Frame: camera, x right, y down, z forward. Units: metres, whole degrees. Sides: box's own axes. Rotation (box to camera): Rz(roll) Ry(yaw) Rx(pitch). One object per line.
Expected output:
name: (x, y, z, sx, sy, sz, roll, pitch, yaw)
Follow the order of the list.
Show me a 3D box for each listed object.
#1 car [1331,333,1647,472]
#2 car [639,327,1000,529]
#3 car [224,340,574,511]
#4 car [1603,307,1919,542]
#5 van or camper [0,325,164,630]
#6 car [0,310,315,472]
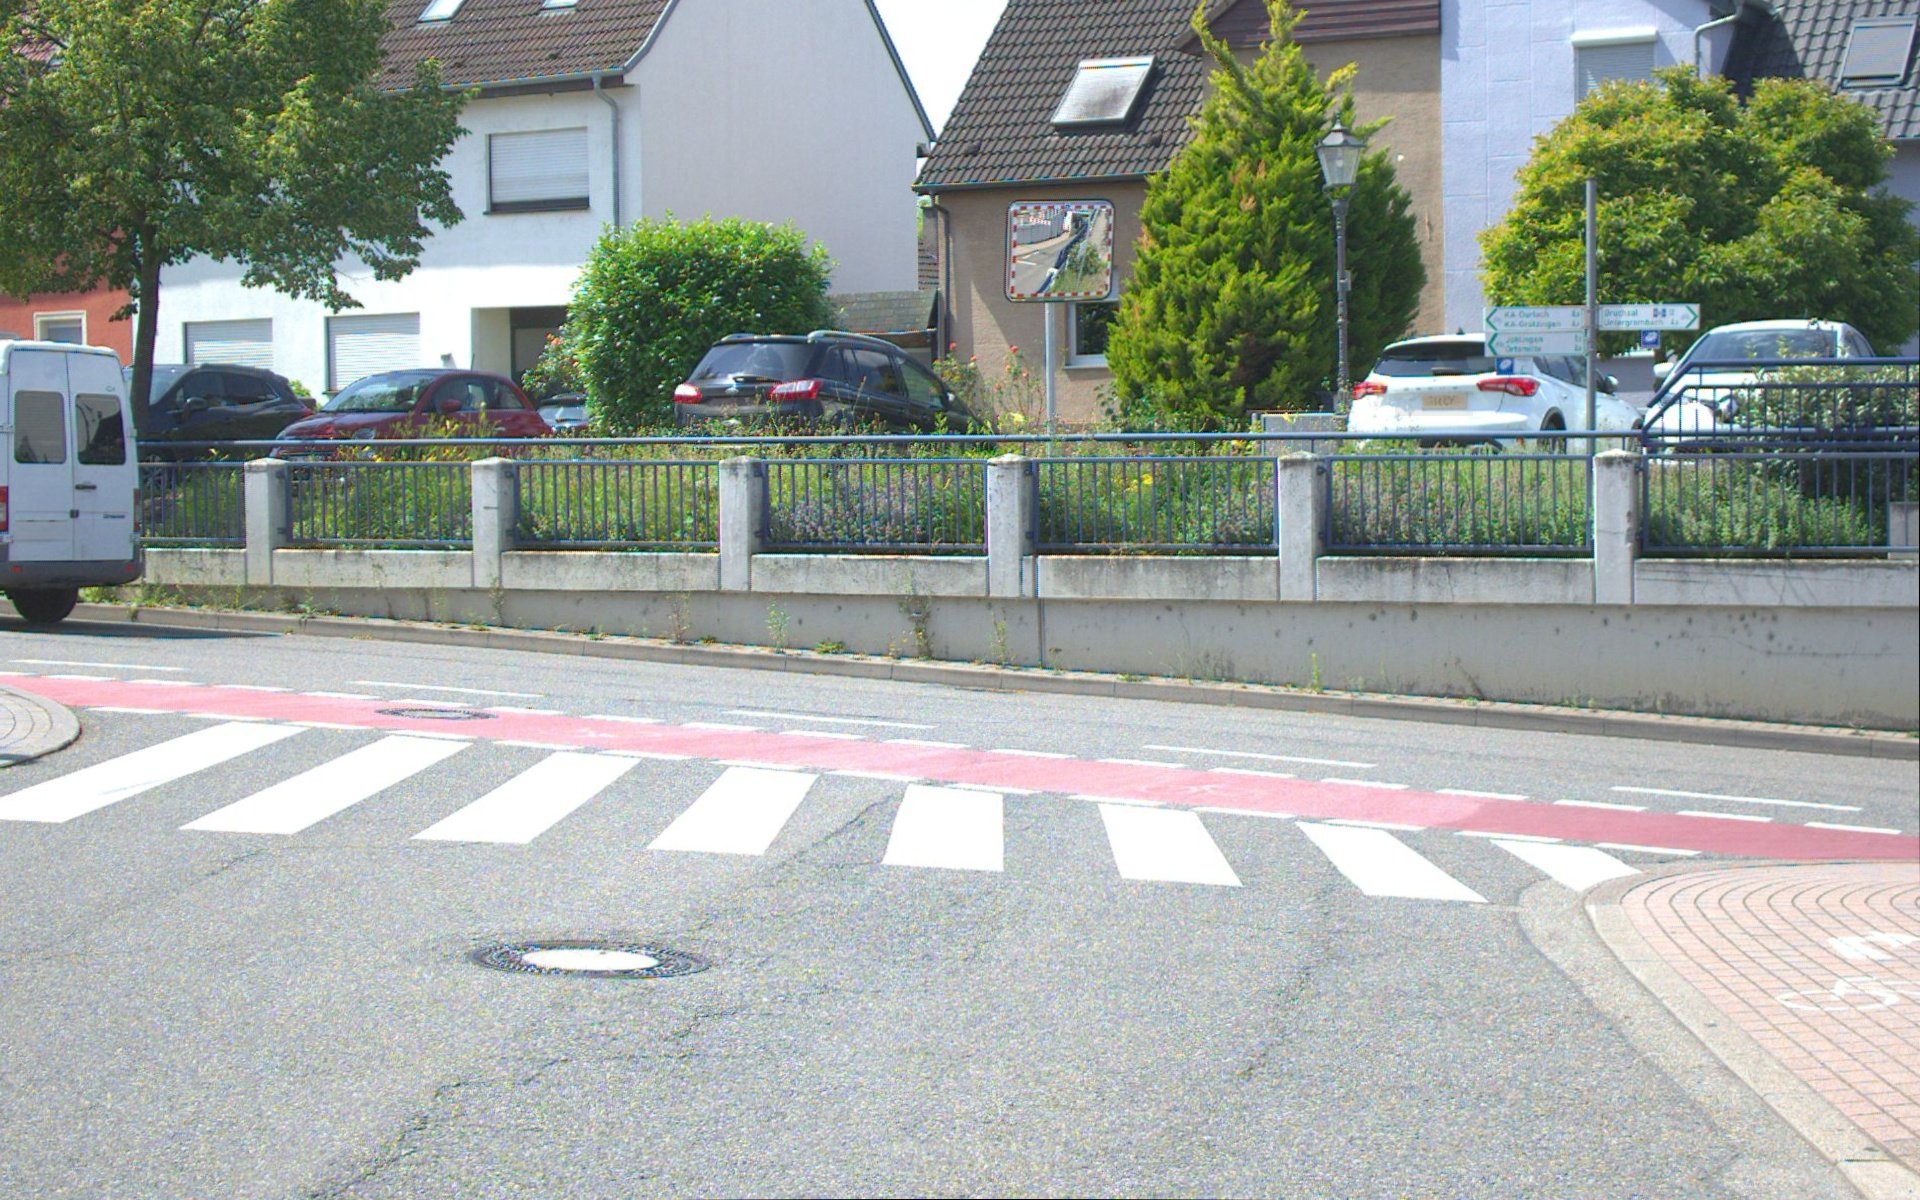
car: (4.854, -1.771, 31.223, 1.828, 1.016, 3.454, 5, 3, 26)
car: (-1.350, -1.699, 34.782, 1.870, 1.790, 3.994, 5, 3, 26)
car: (-5.944, -1.836, 36.766, 1.870, 1.581, 3.605, 5, 3, 26)
car: (7.233, -1.478, 30.073, 1.997, 1.790, 4.191, 5, 3, 26)
van or camper: (-10.152, -1.199, 31.724, 5.385, 2.621, 2.001, 4, 1, 28)
car: (-9.175, -2.335, 38.766, 1.870, 1.581, 3.605, 5, 3, 26)
